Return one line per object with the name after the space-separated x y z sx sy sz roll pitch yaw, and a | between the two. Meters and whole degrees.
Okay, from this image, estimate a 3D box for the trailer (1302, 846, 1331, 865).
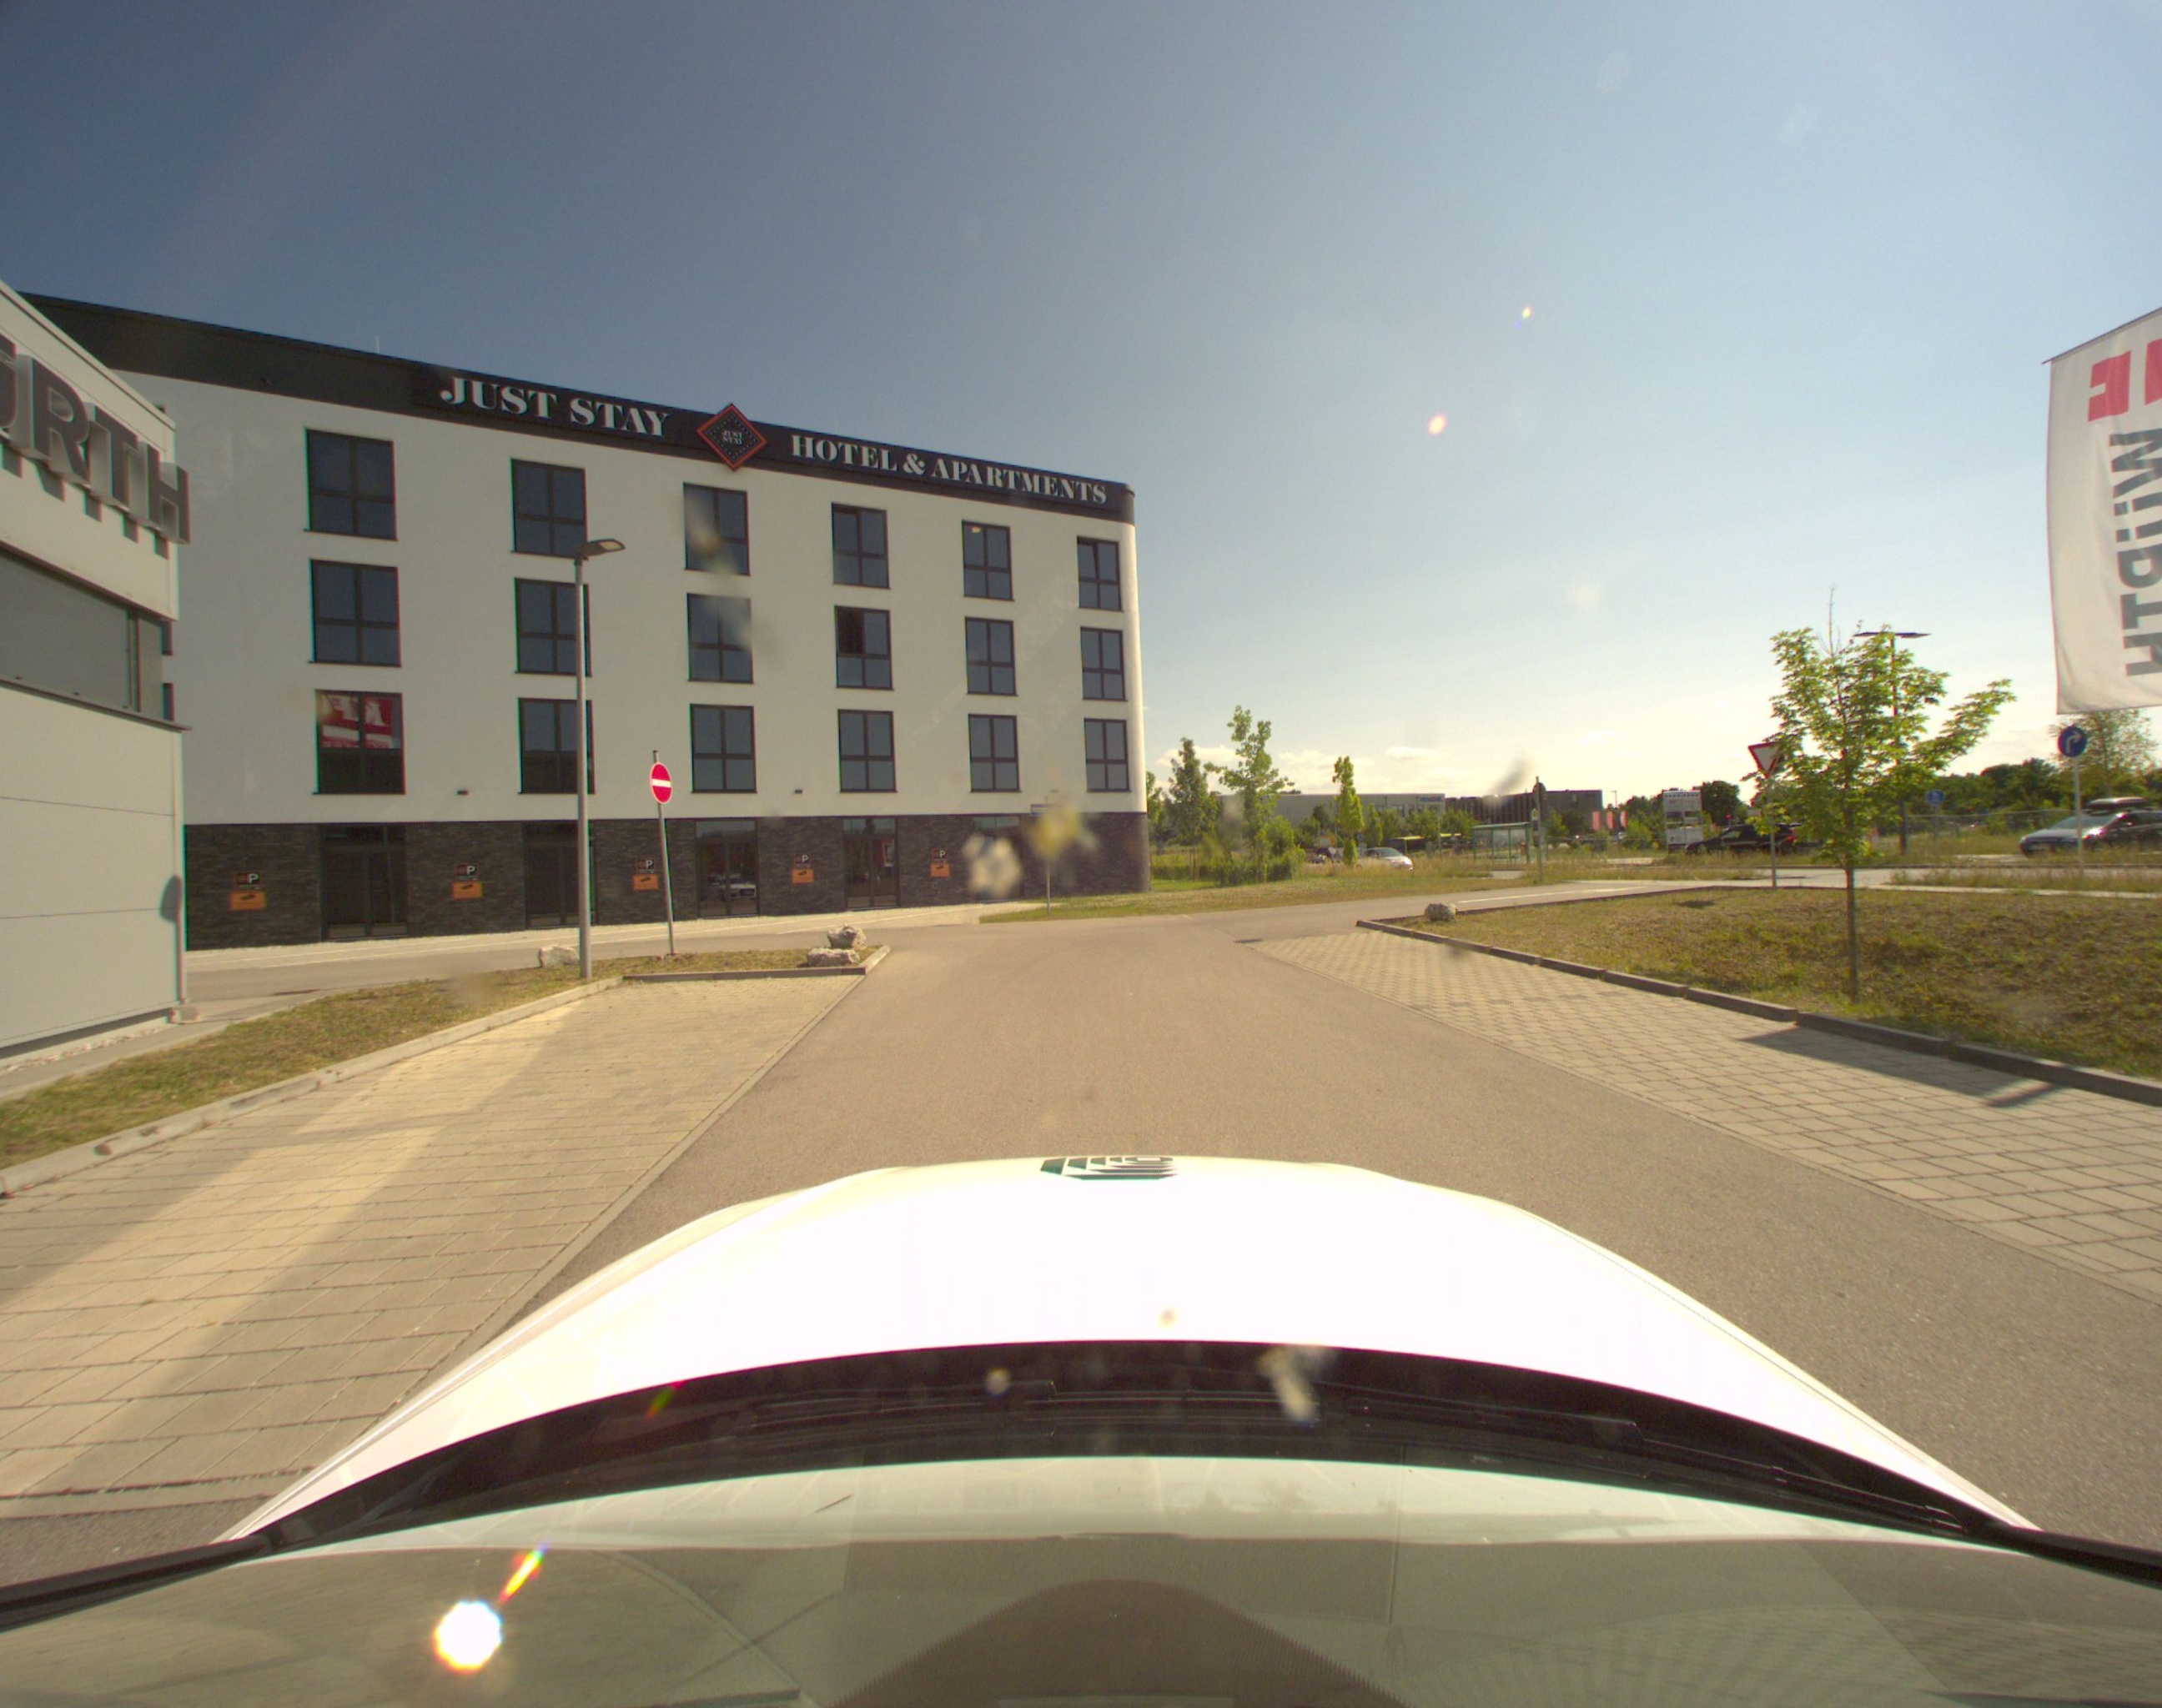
24.218 0.168 83.648 1.805 1.860 4.025 -2 0 31 | trailer

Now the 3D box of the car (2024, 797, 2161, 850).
32.114 -0.952 25.856 4.207 1.517 1.982 -2 0 -28 | car

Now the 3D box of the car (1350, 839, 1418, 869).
16.798 0.027 45.325 1.738 1.551 3.765 -2 0 -14 | car

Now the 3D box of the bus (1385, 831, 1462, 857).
42.564 -1.256 100.909 11.610 2.735 2.554 -3 0 -32 | bus

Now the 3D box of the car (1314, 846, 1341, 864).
26.371 0.105 87.056 1.805 1.860 4.025 -2 0 31 | car
